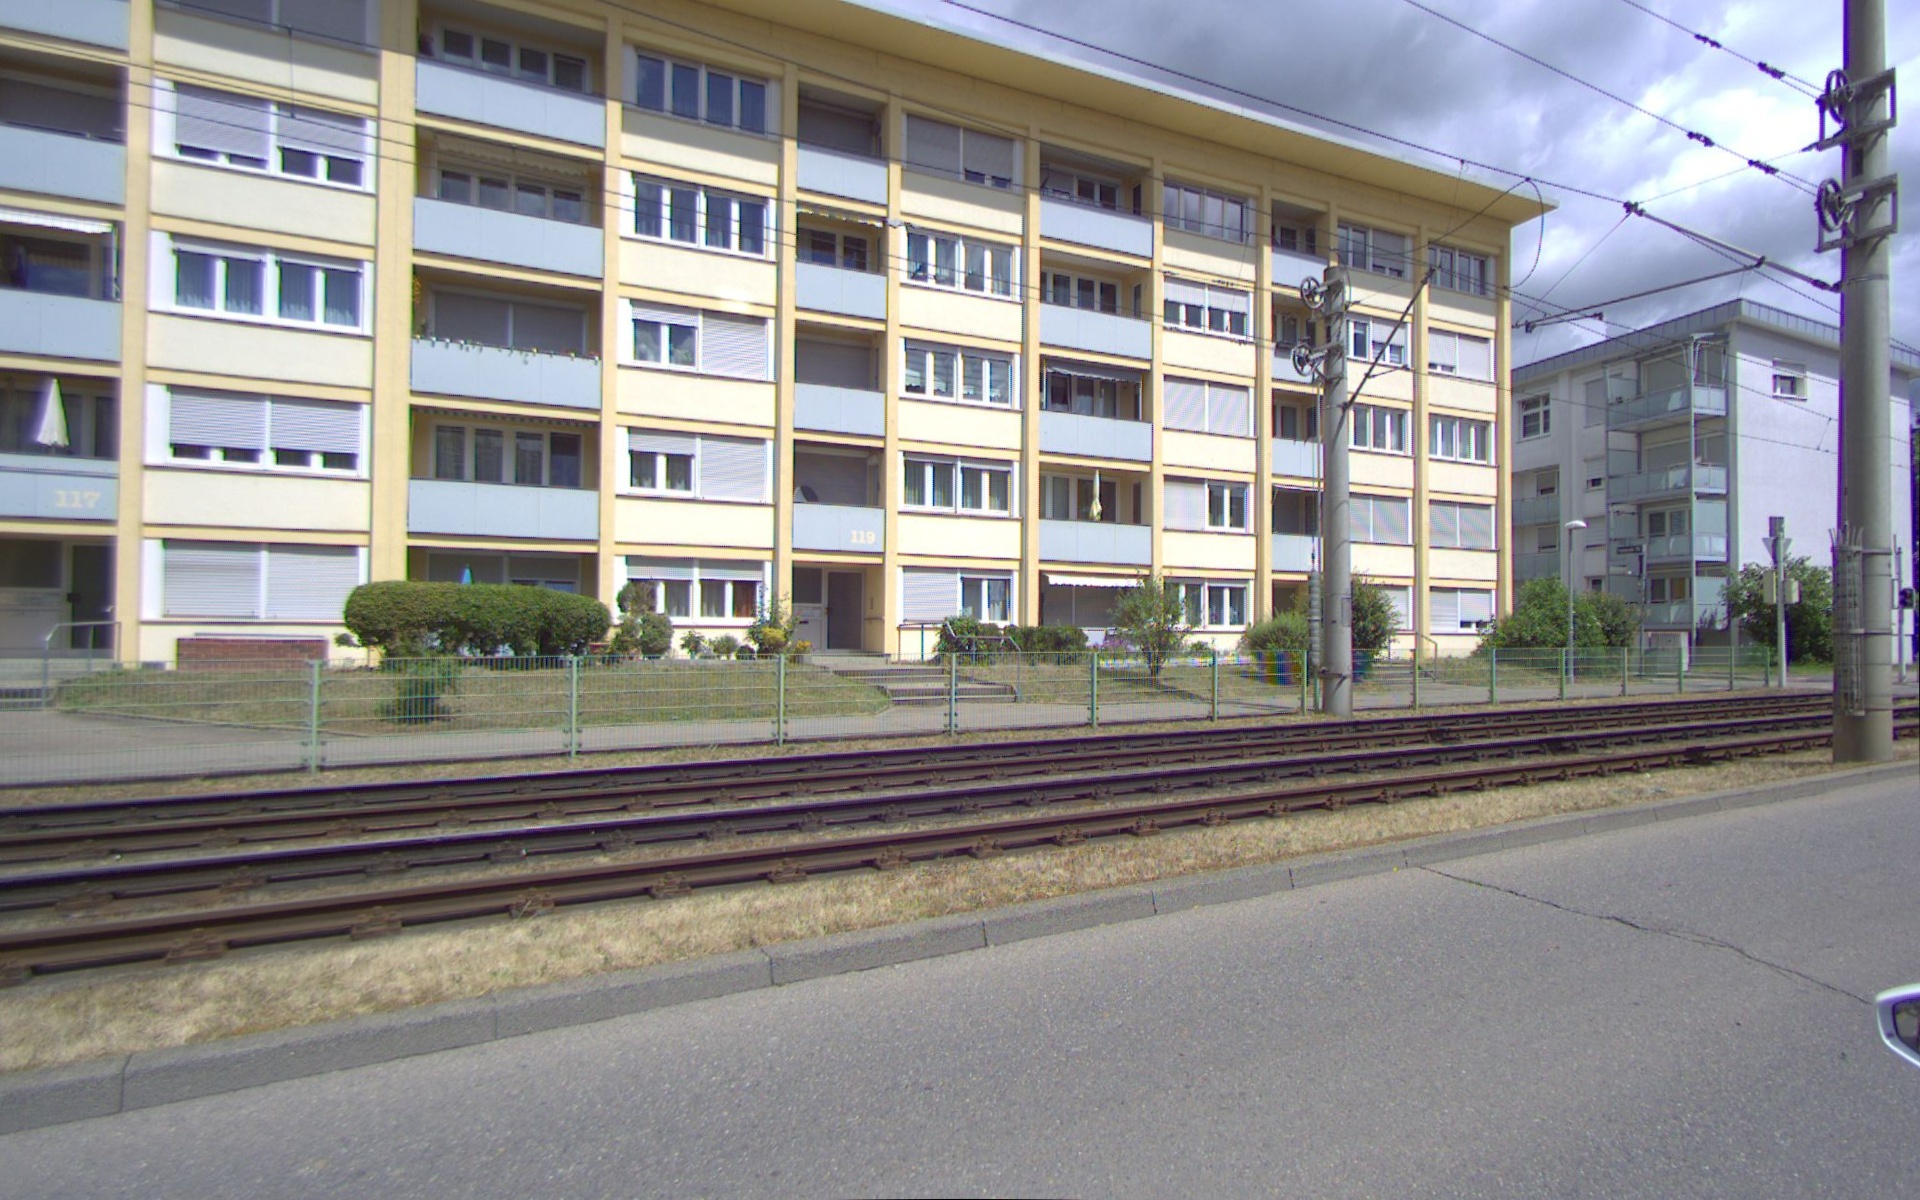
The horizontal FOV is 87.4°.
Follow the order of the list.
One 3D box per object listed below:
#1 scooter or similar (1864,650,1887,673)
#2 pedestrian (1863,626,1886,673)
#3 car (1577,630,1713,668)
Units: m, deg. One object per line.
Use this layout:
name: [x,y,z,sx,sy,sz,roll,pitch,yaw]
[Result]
scooter or similar: [31.186,2.106,34.224,0.468,0.757,0.436,1,-1,-25]
pedestrian: [31.530,1.696,34.636,0.468,1.601,0.436,1,-1,-25]
car: [26.349,1.838,38.786,1.873,1.363,3.980,1,-2,-21]
